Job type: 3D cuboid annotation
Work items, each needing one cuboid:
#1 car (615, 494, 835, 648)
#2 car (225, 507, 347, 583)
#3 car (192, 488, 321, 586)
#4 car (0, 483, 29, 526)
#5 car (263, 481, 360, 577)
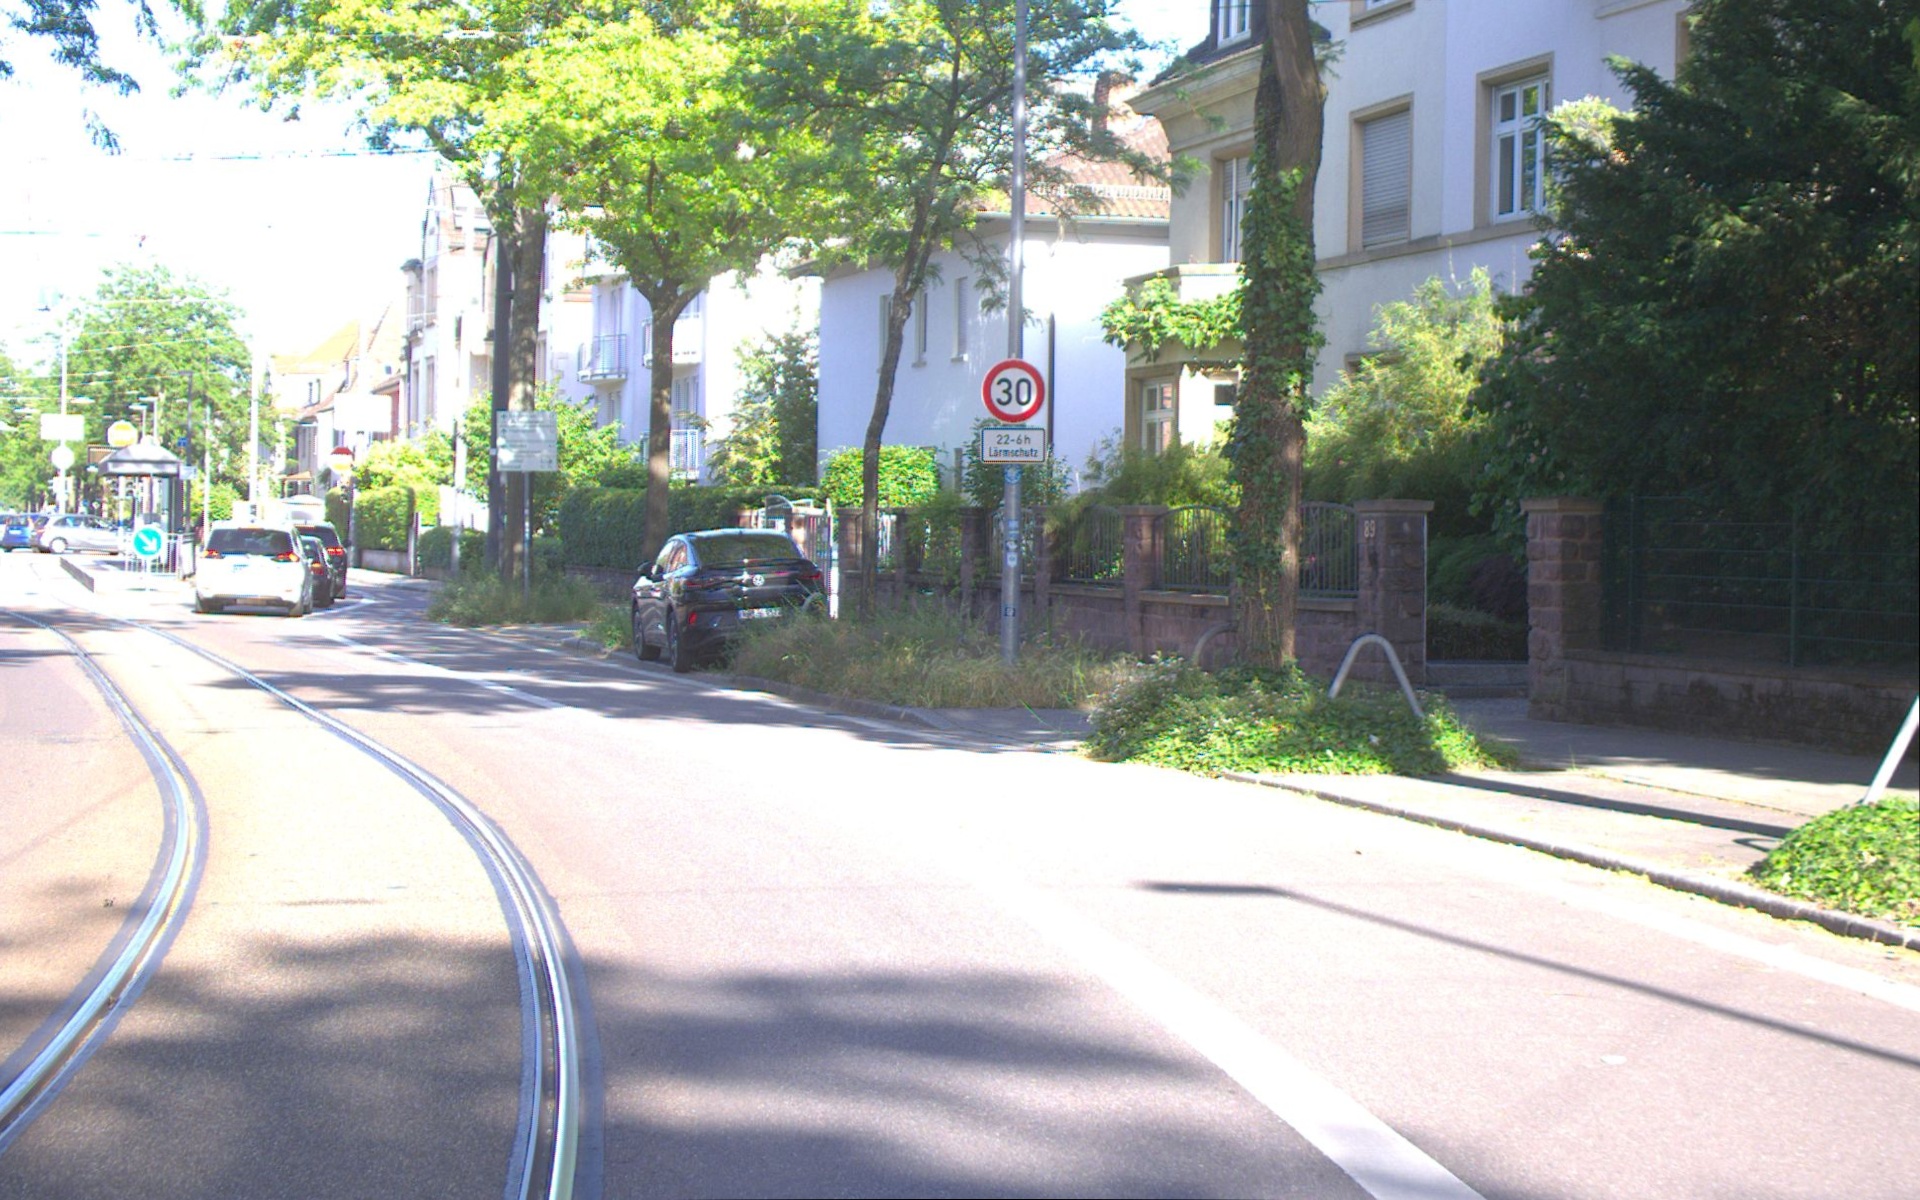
[{"bbox_3d":[-2.935,-0.407,42.000,1.804,1.688,4.730,-3,2,-14],"label":"car"},{"bbox_3d":[-13.355,-1.121,68.304,1.993,1.437,4.001,0,2,-6],"label":"car"},{"bbox_3d":[-12.350,-1.074,60.537,1.892,1.605,4.229,1,0,-7],"label":"car"},{"bbox_3d":[-43.538,-4.334,156.729,1.993,1.907,4.001,1,1,-14],"label":"car"},{"bbox_3d":[-14.012,-1.553,74.443,1.708,2.007,3.907,0,2,-6],"label":"car"}]
